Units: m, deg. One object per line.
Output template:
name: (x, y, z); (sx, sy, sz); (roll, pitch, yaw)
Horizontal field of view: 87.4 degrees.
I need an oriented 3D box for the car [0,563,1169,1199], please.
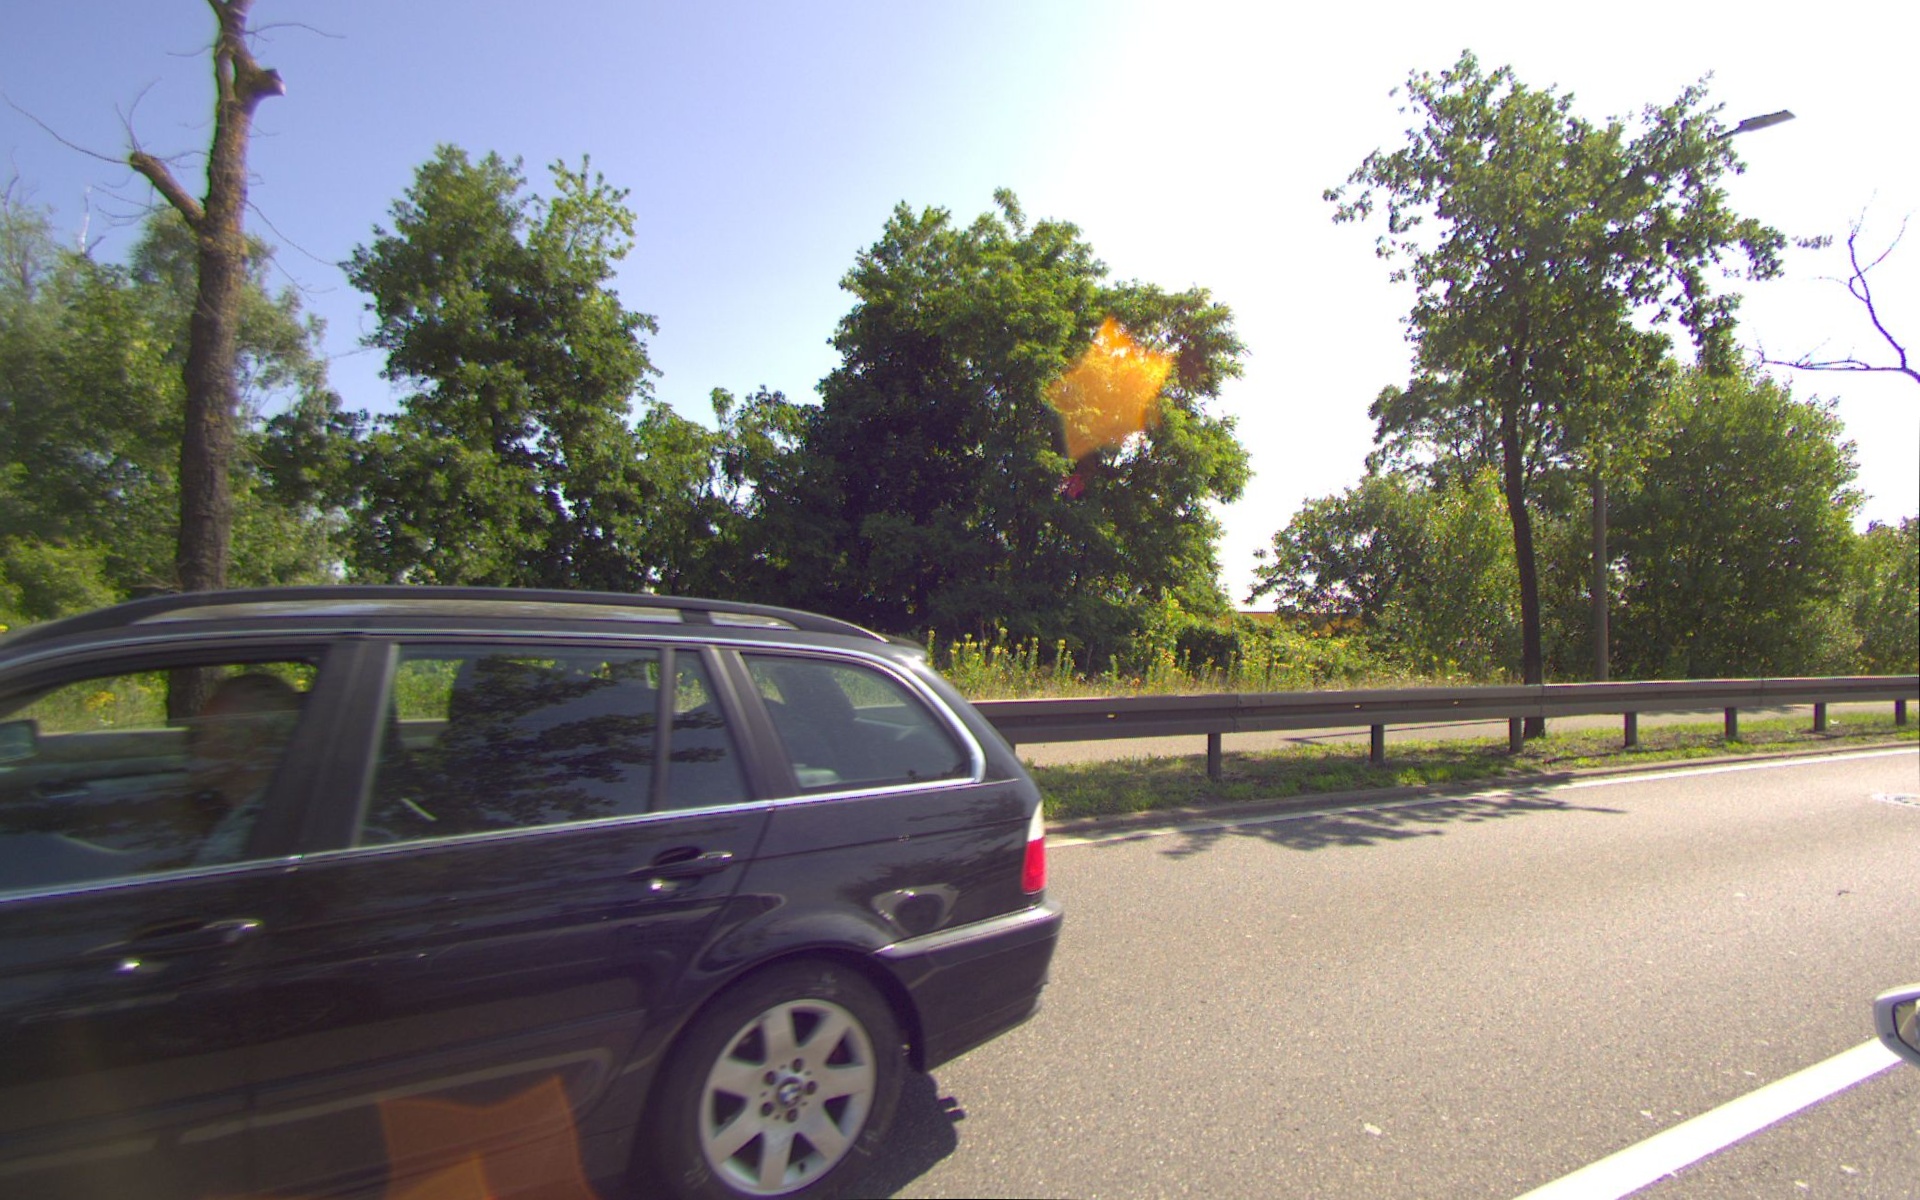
car: (-1.610, 0.669, 2.486); (4.073, 1.468, 1.693); (2, 0, -31)
